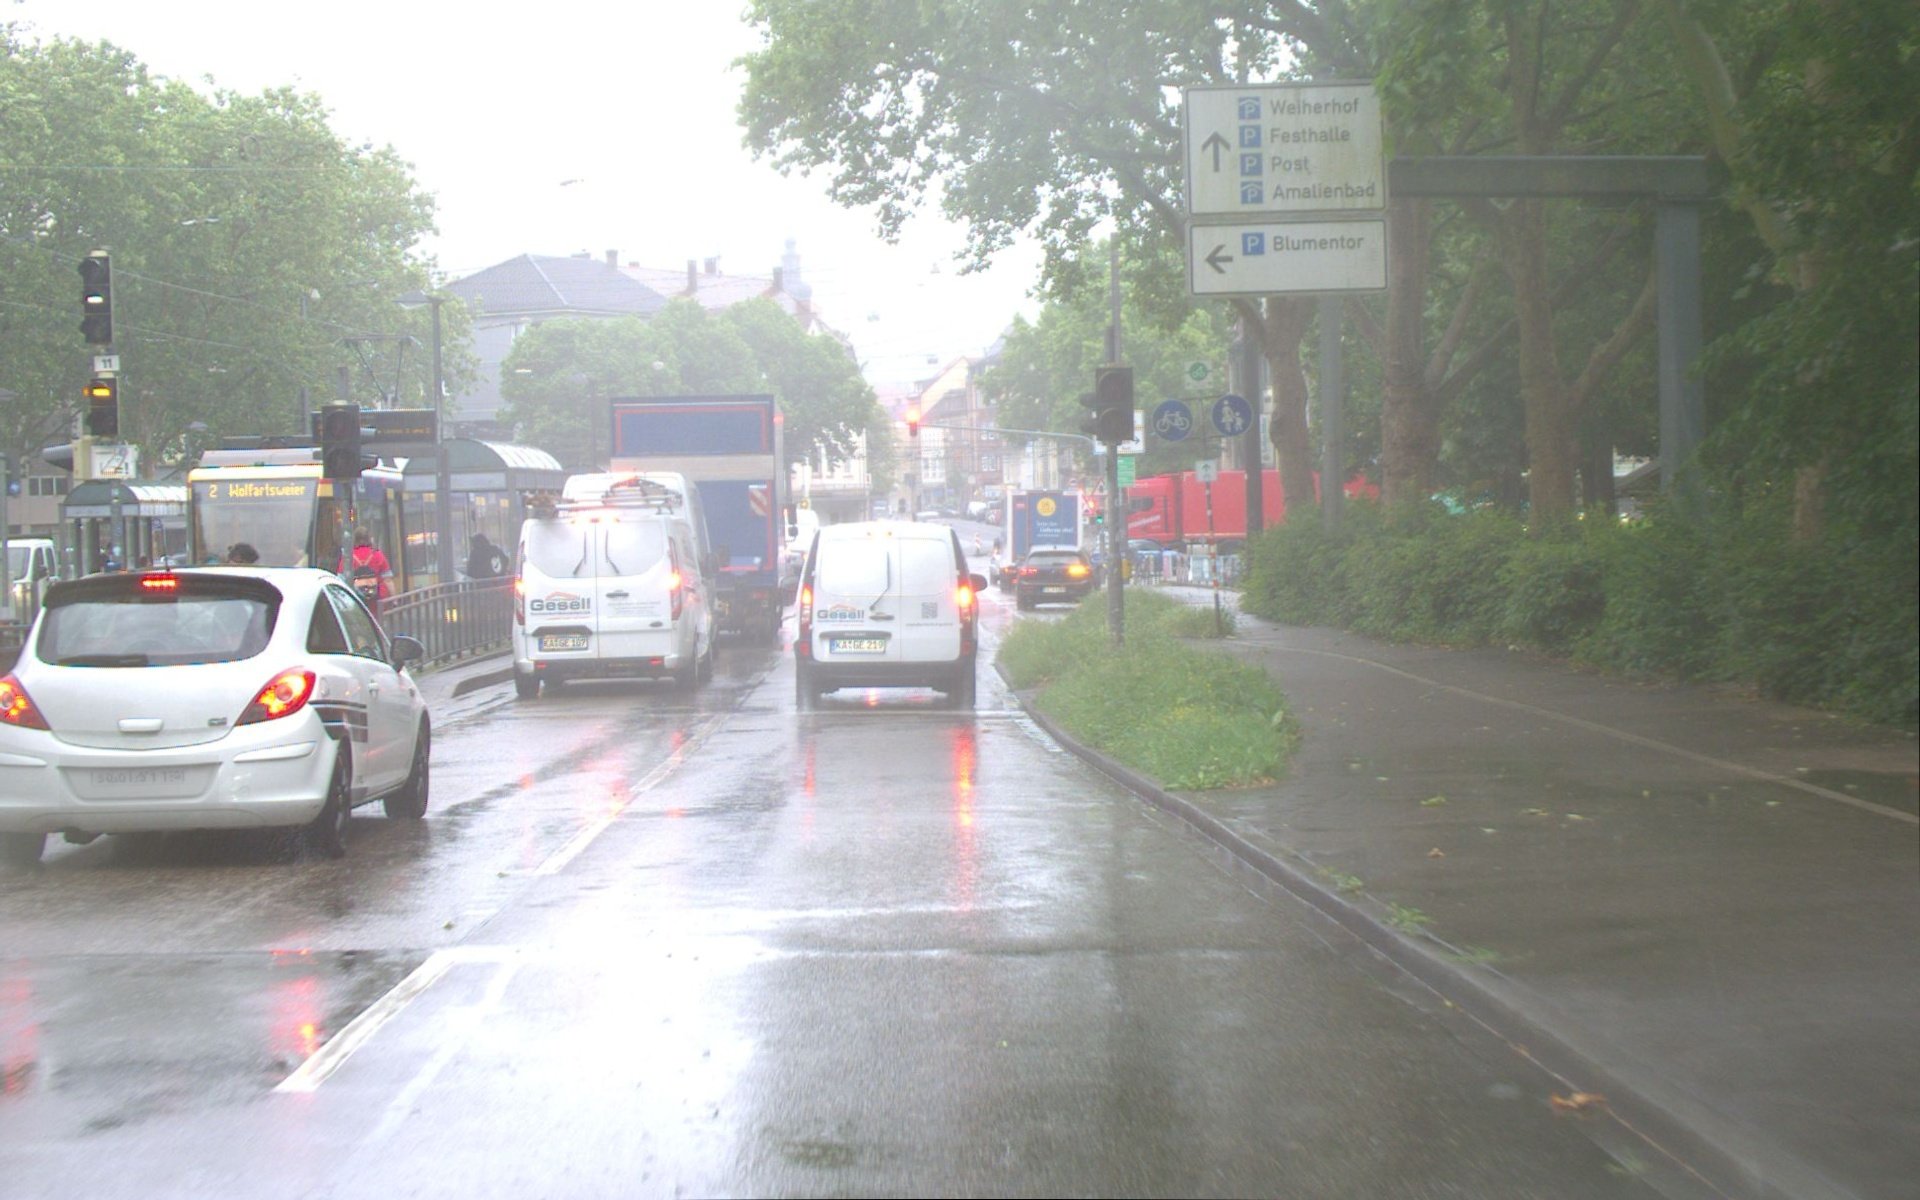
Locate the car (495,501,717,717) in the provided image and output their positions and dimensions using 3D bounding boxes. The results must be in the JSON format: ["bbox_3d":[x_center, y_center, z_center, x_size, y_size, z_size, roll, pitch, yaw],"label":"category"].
[{"bbox_3d":[-3.915,0.094,38.830,1.993,2.254,5.289,-1,0,-1],"label":"car"}]

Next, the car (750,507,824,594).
[{"bbox_3d":[-4.963,-1.420,99.131,1.993,2.434,4.612,0,1,-1],"label":"car"}]

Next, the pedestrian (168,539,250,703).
[{"bbox_3d":[-8.058,0.220,36.902,0.677,1.732,0.808,-1,0,-1],"label":"pedestrian"}]

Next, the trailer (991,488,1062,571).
[{"bbox_3d":[1.926,-2.051,101.306,1.993,2.309,4.668,-1,0,0],"label":"trailer"}]

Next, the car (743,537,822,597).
[{"bbox_3d":[-4.817,-0.907,93.617,1.993,1.573,4.292,0,1,-1],"label":"car"}]

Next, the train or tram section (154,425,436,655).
[{"bbox_3d":[-10.477,-1.017,55.065,2.961,3.274,8.361,-3,2,-2],"label":"train or tram section"}]

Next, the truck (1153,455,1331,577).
[{"bbox_3d":[12.152,-3.612,147.940,7.160,4.882,3.288,-2,2,10],"label":"truck"}]

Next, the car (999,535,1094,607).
[{"bbox_3d":[1.992,-0.669,77.841,1.994,1.536,4.000,-1,1,3],"label":"car"}]

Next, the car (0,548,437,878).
[{"bbox_3d":[-3.788,0.511,17.449,1.725,1.474,3.806,-1,0,-1],"label":"car"}]

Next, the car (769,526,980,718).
[{"bbox_3d":[-0.830,0.203,34.062,1.959,1.771,3.570,-1,0,-1],"label":"car"}]

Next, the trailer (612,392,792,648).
[{"bbox_3d":[-4.139,-1.301,56.466,2.590,3.886,7.637,-1,1,-2],"label":"trailer"}]

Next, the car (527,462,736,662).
[{"bbox_3d":[-4.427,-0.489,47.314,2.329,2.548,6.114,-1,0,-1],"label":"car"}]

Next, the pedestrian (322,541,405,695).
[{"bbox_3d":[-6.728,0.208,38.785,0.790,1.709,0.771,1,-1,-1],"label":"pedestrian"}]

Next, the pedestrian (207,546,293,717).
[{"bbox_3d":[-7.341,0.319,35.580,0.715,1.738,0.750,-1,0,-1],"label":"pedestrian"}]

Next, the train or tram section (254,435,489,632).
[{"bbox_3d":[-10.717,-1.276,63.462,2.979,3.274,8.432,-3,2,-2],"label":"train or tram section"}]

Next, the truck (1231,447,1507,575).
[{"bbox_3d":[17.523,-3.810,146.971,11.368,4.882,3.288,-2,2,10],"label":"truck"}]
